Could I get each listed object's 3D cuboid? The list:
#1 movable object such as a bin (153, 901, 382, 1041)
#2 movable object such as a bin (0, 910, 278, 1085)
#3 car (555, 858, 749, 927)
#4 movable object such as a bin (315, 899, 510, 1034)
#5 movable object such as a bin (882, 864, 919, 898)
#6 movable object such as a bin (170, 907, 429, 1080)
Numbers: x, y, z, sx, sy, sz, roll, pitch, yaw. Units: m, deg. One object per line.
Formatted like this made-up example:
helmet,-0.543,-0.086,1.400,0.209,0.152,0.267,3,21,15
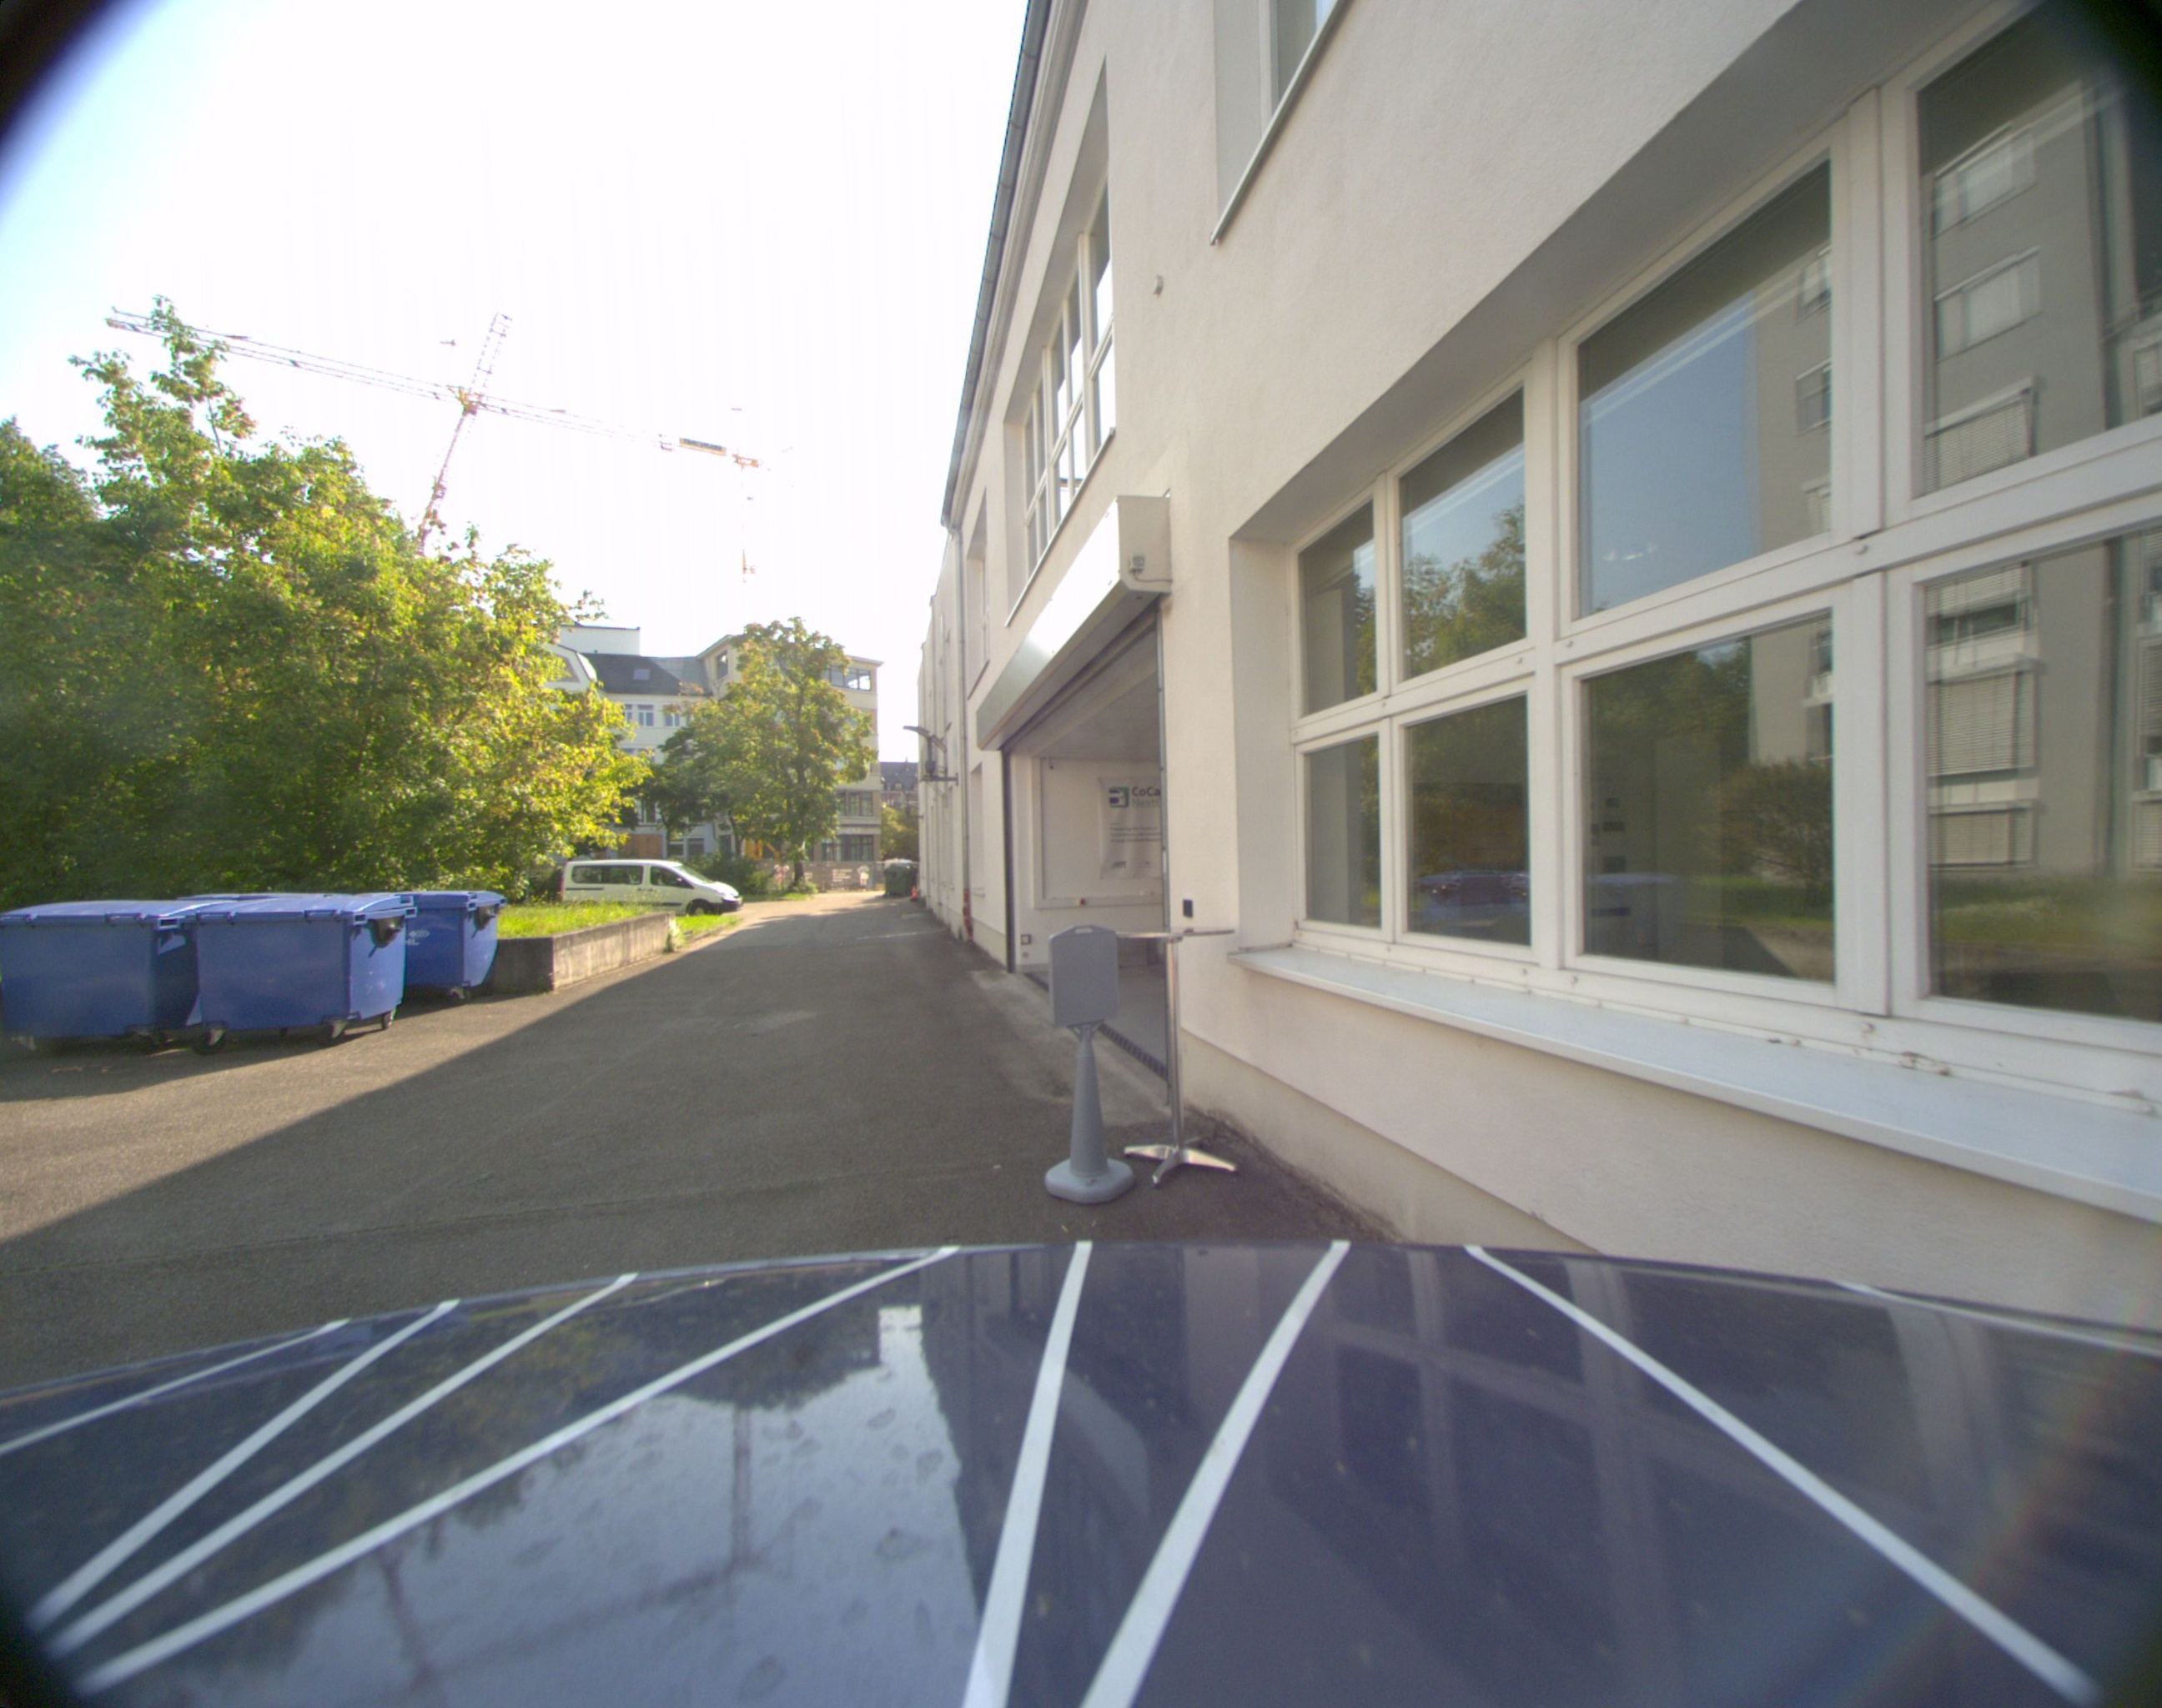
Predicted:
movable object such as a bin,-8.955,1.233,8.472,1.201,1.320,1.273,-1,0,-14
movable object such as a bin,-8.640,1.238,6.949,1.258,1.320,1.273,-1,0,-14
car,-12.971,1.126,23.315,4.795,1.920,1.907,-1,0,-12
movable object such as a bin,-7.612,1.233,8.767,1.201,1.320,1.273,-1,0,-14
movable object such as a bin,-8.158,1.202,34.341,1.526,1.457,1.273,-1,0,-14
movable object such as a bin,-7.304,1.239,7.233,1.215,1.343,1.273,-1,0,-16
